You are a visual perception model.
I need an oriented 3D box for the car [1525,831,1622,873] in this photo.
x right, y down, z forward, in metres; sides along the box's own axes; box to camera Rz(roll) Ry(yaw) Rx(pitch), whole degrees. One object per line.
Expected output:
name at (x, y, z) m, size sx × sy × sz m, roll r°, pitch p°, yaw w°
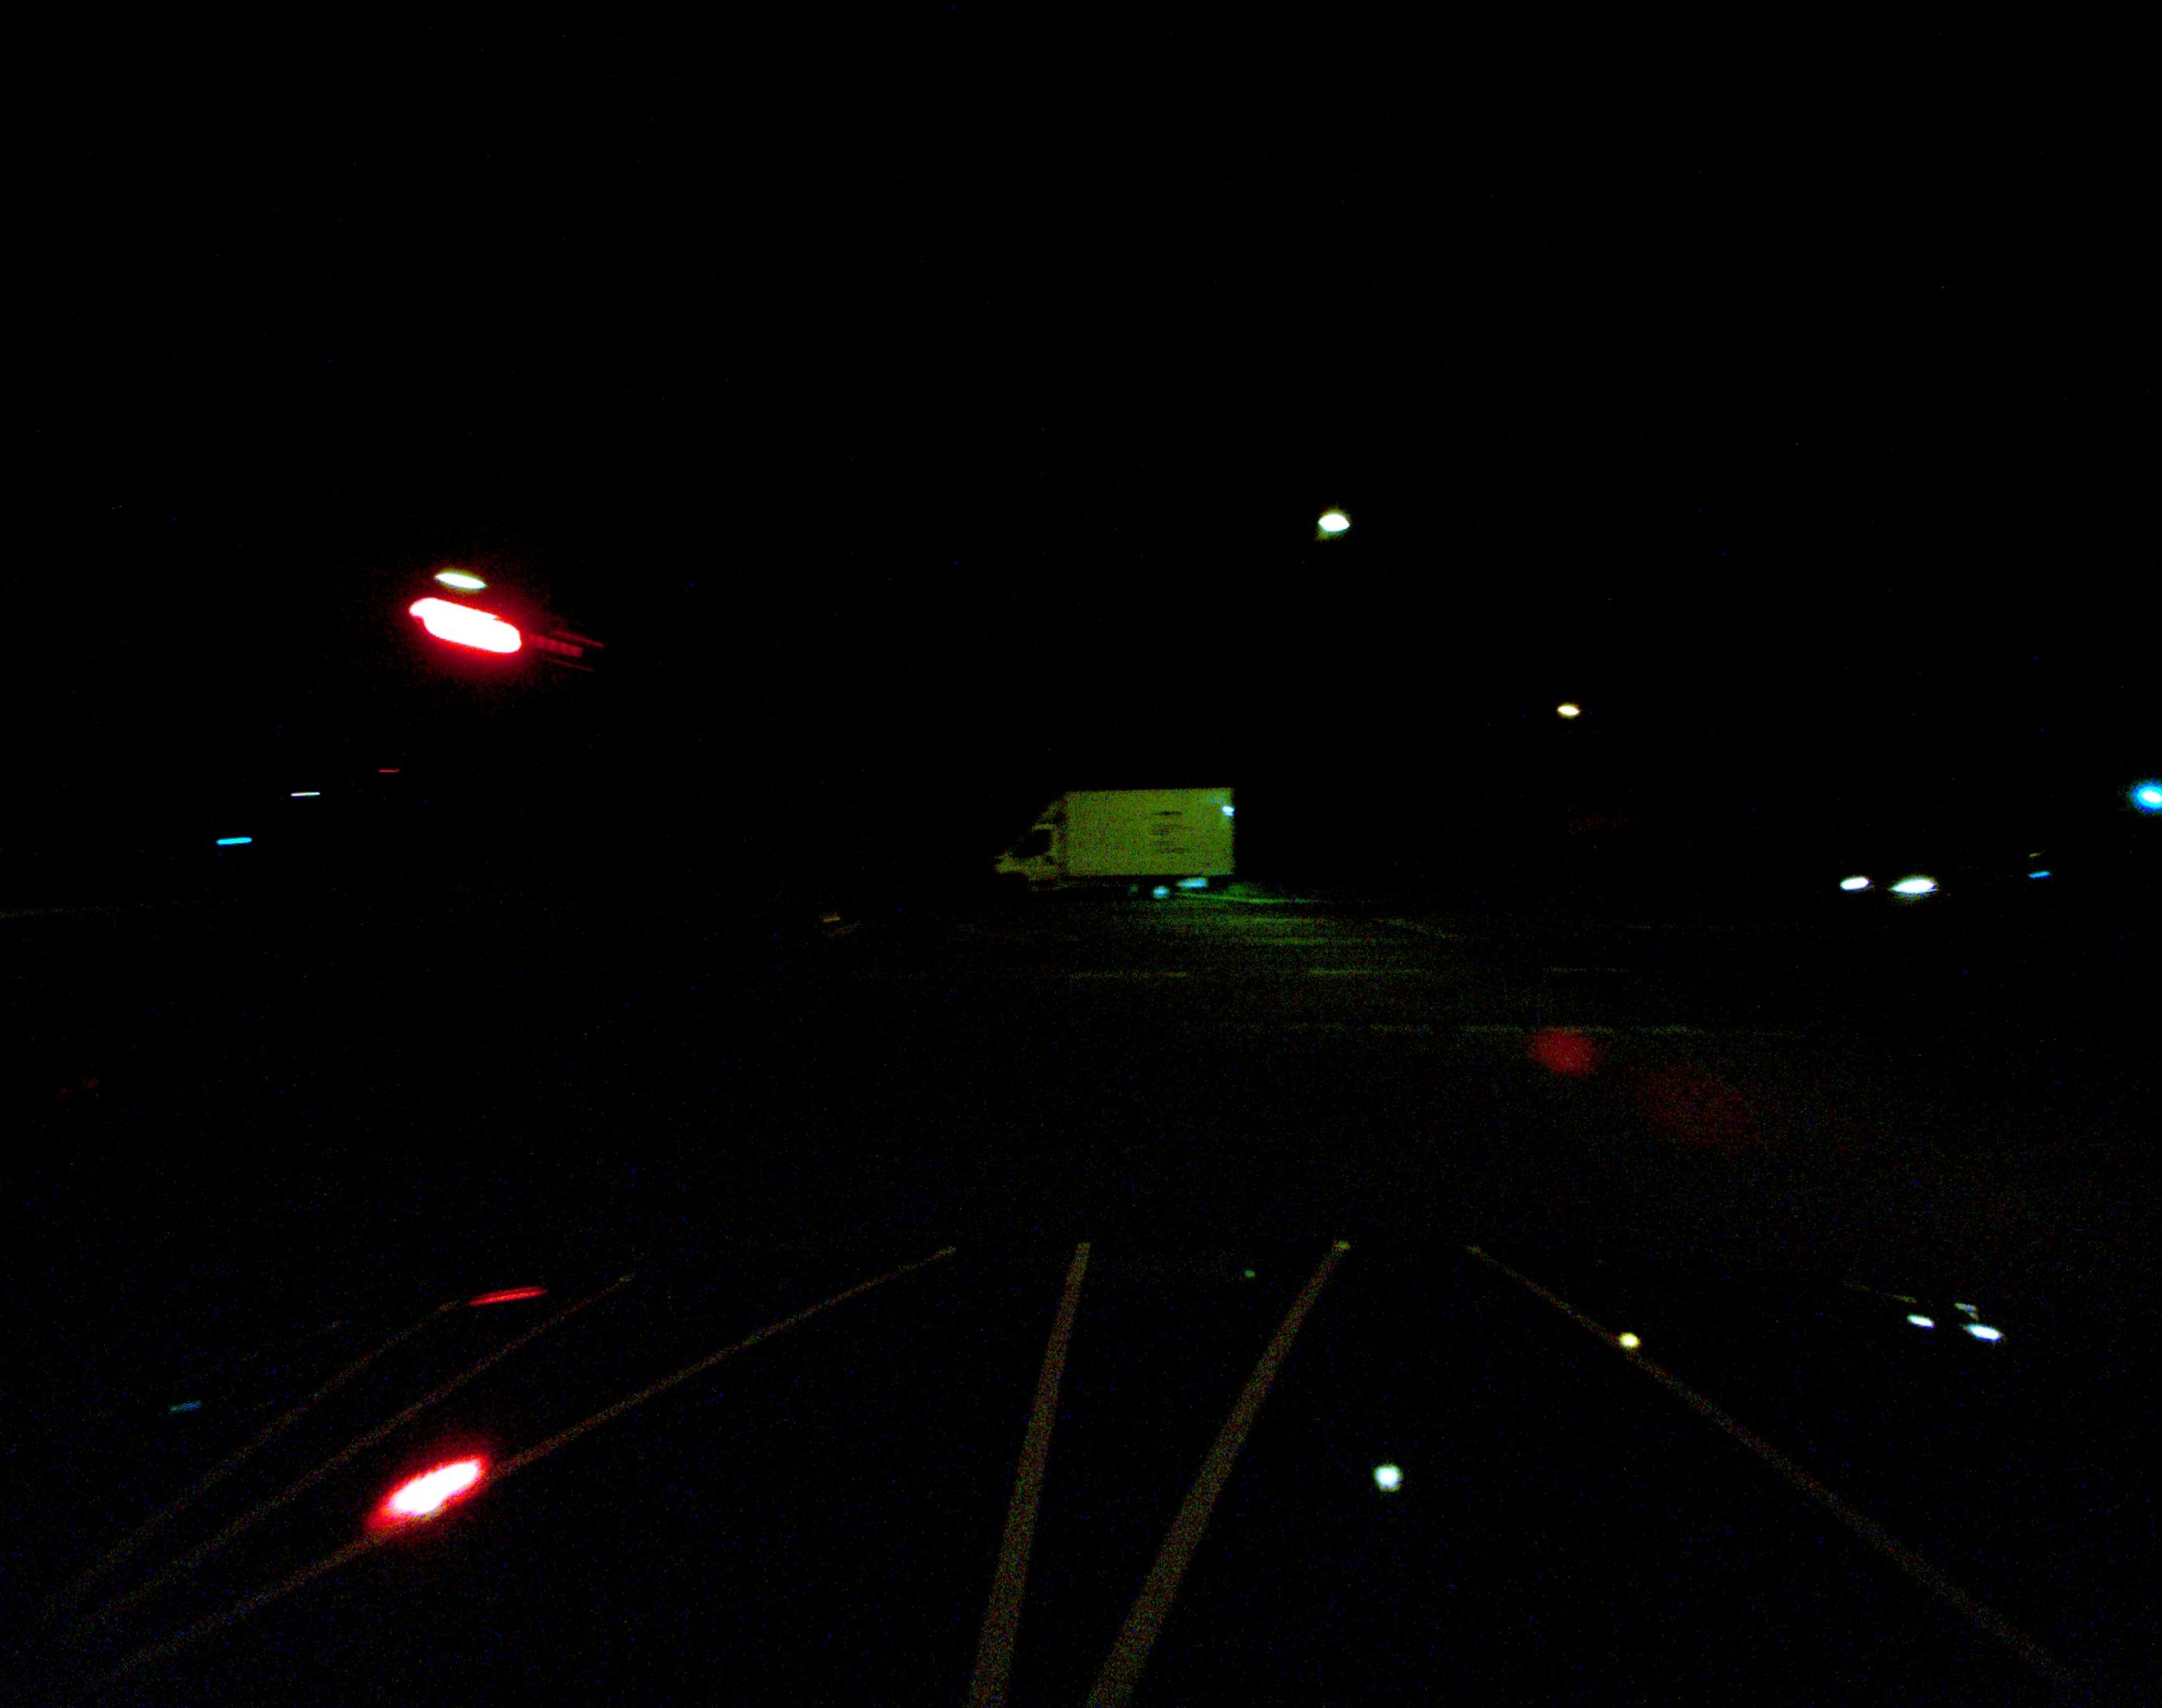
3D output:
car at (20.024, -0.101, 31.121) m, size 2.050 × 1.546 × 4.259 m, roll -1°, pitch 1°, yaw 14°

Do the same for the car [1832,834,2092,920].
car at (16.498, 0.412, 14.349) m, size 3.046 × 1.493 × 1.514 m, roll -1°, pitch 1°, yaw 3°

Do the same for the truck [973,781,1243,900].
truck at (0.805, -0.425, 21.312) m, size 7.028 × 3.029 × 2.772 m, roll -1°, pitch 4°, yaw 4°

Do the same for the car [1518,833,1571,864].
car at (22.264, -0.295, 36.644) m, size 1.875 × 1.379 × 4.084 m, roll -2°, pitch 1°, yaw 28°
